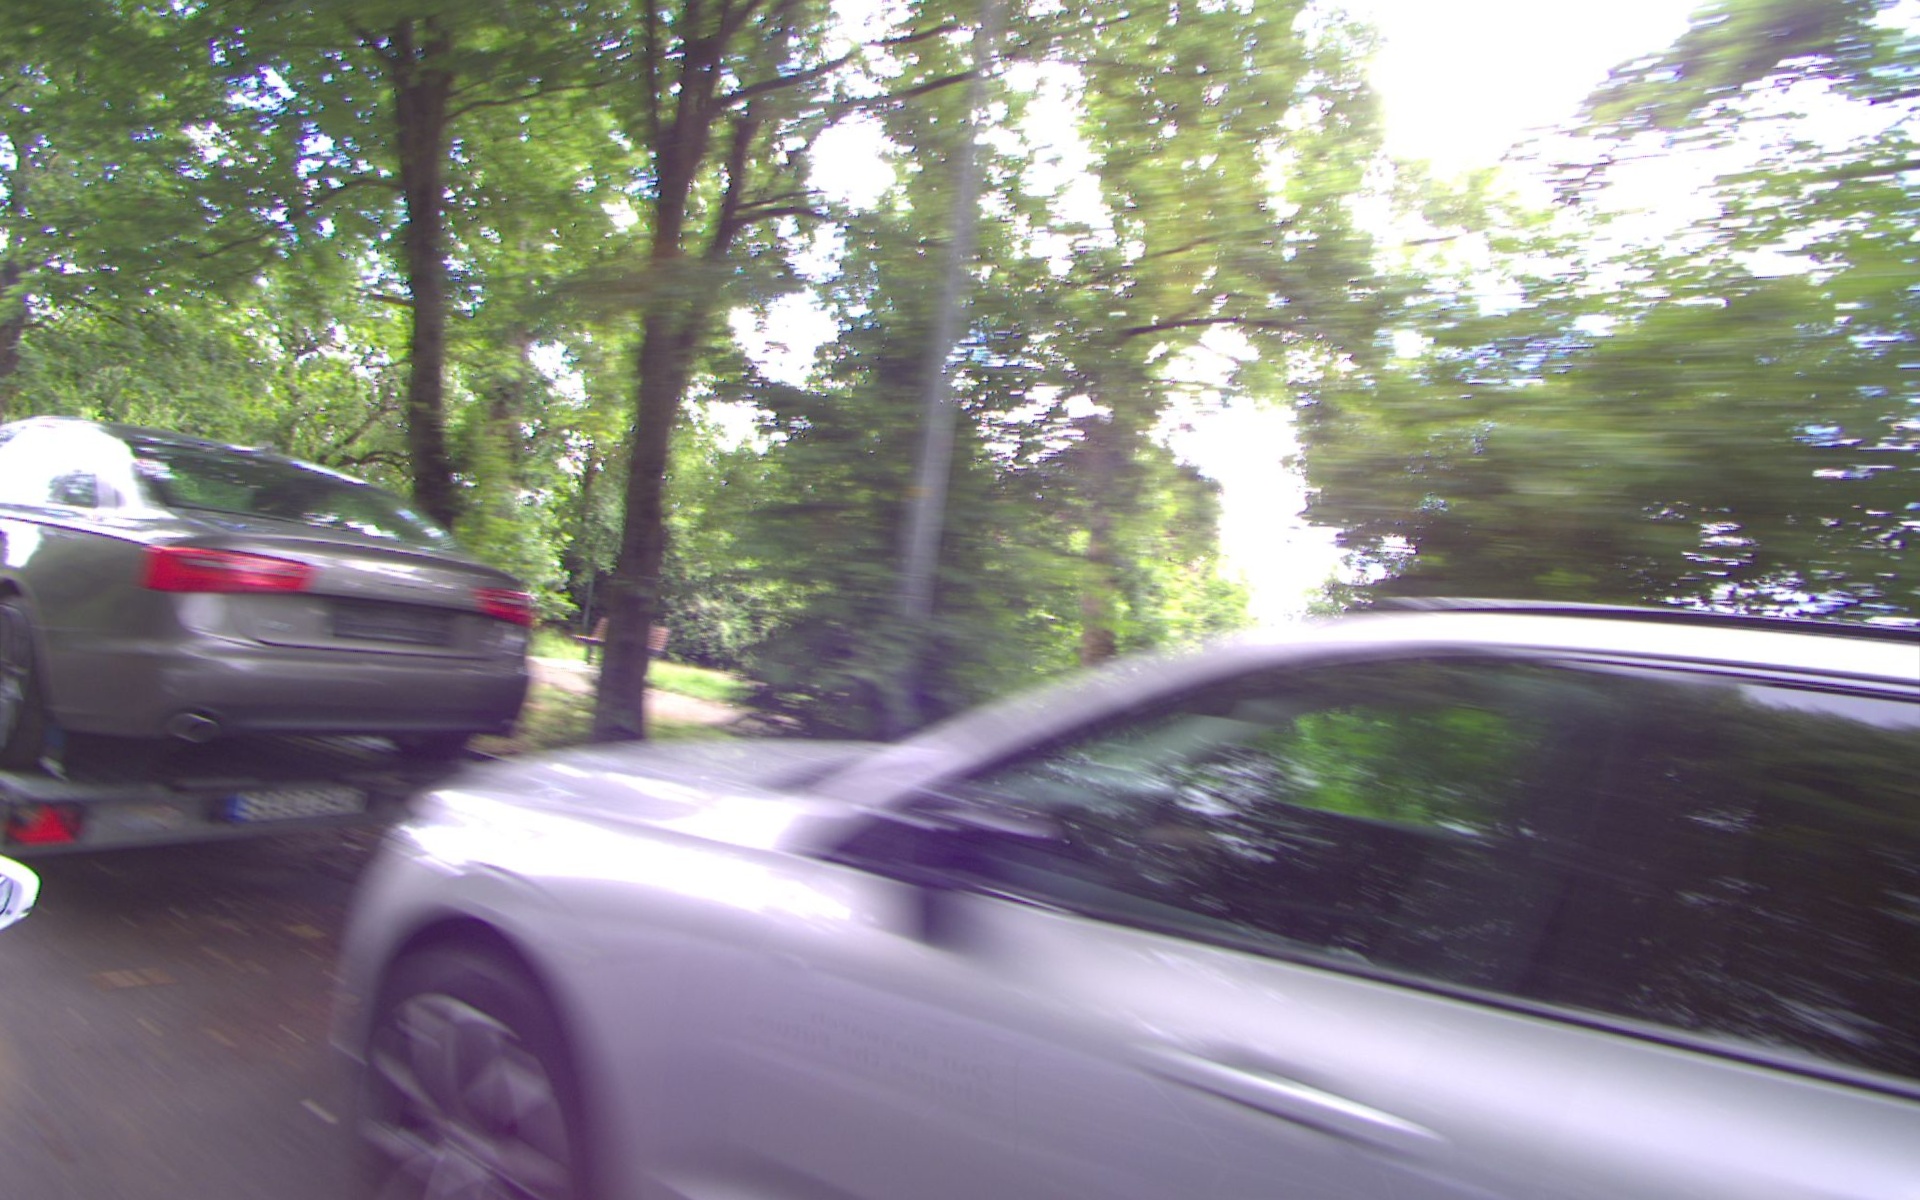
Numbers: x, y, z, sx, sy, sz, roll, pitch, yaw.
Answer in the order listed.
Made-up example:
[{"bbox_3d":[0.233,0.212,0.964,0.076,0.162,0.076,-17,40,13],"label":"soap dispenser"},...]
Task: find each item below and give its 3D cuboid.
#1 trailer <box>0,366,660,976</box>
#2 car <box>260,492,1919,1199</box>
[{"bbox_3d":[-4.167,0.034,5.169,5.062,1.833,1.983,7,-1,31],"label":"trailer"},{"bbox_3d":[0.866,0.849,1.936,4.426,1.689,1.796,5,-2,30],"label":"car"}]
